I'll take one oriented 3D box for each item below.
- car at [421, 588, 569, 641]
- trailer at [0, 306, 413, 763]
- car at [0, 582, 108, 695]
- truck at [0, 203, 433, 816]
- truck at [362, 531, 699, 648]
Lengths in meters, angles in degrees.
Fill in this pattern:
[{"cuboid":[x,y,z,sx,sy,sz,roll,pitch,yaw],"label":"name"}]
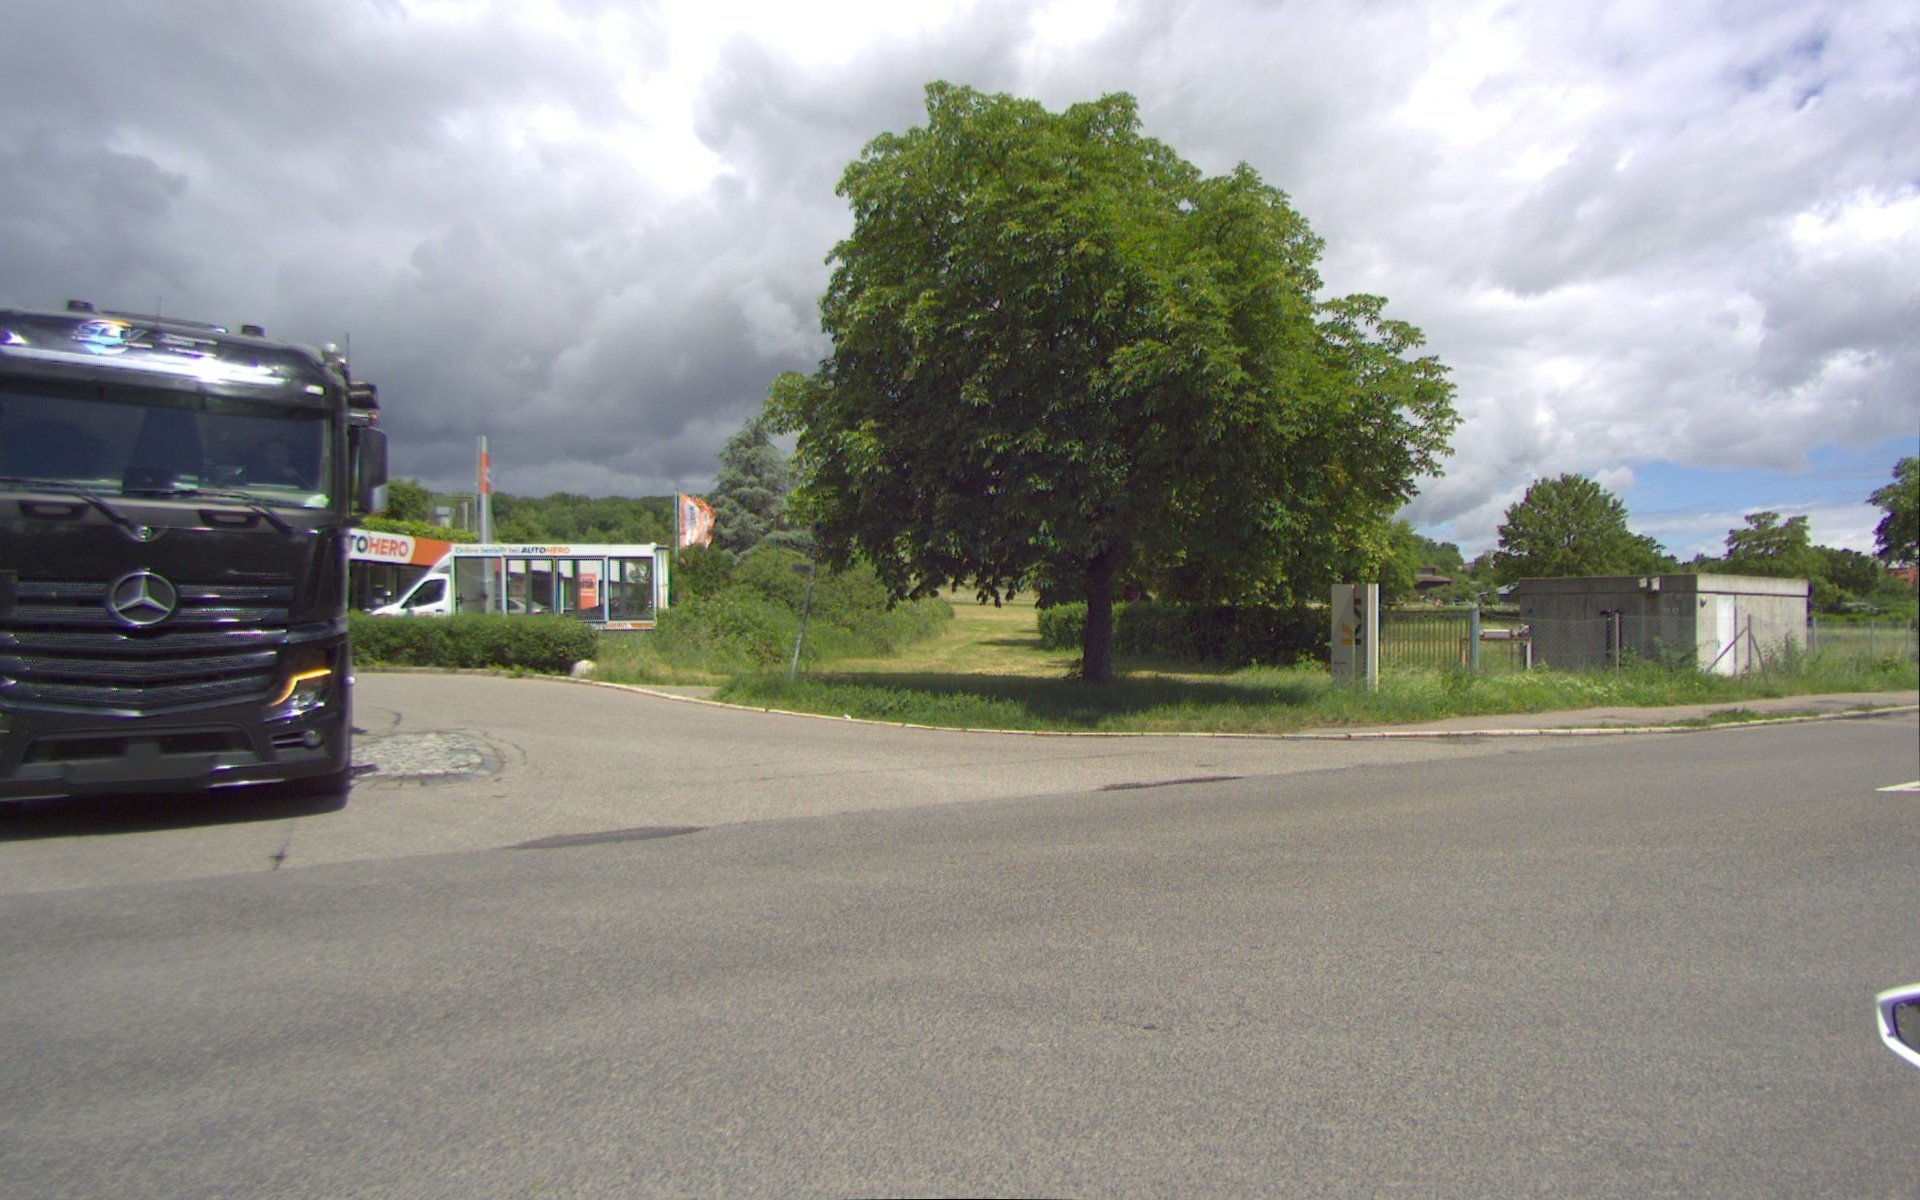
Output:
[{"cuboid":[-17.159,0.538,37.213,4.582,1.870,1.833,1,-1,-1],"label":"car"},{"cuboid":[-10.712,-0.506,13.581,3.298,4.137,9.341,2,-2,-45],"label":"trailer"},{"cuboid":[-18.038,0.656,18.115,4.034,1.901,1.959,1,-1,11],"label":"car"},{"cuboid":[-6.834,-0.508,9.162,2.954,3.874,5.520,2,-2,-34],"label":"truck"},{"cuboid":[-12.040,-0.229,28.907,8.431,3.089,2.662,1,-1,-7],"label":"truck"}]
